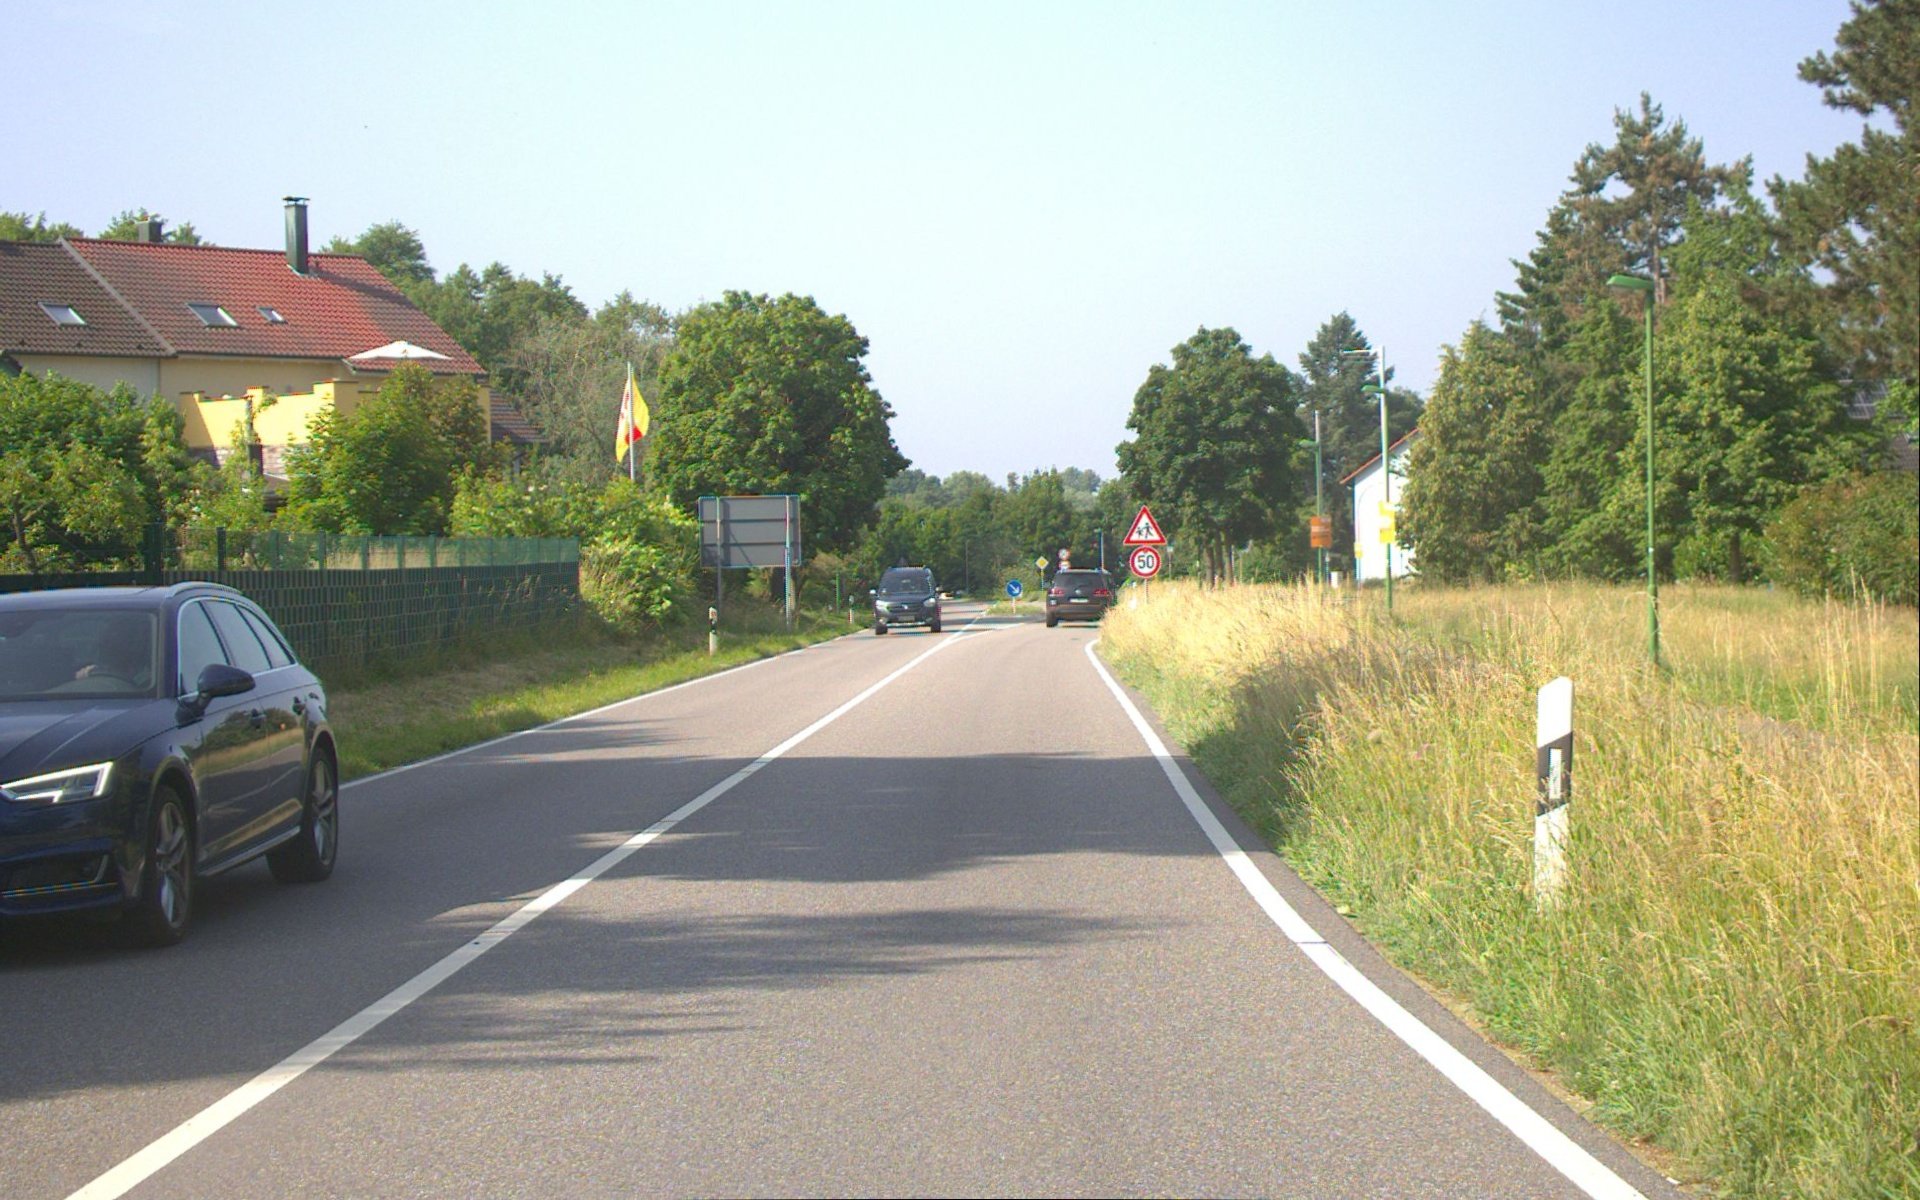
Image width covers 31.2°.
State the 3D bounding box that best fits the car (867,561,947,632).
[{"bbox_3d":[-1.420,-0.113,93.532,1.939,1.811,4.242,-3,0,1],"label":"car"}]

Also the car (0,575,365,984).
[{"bbox_3d":[-3.975,0.672,14.764,1.870,1.418,4.577,-3,1,1],"label":"car"}]

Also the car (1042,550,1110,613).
[{"bbox_3d":[3.400,-0.551,100.505,1.925,1.765,4.000,-1,1,2],"label":"car"}]
